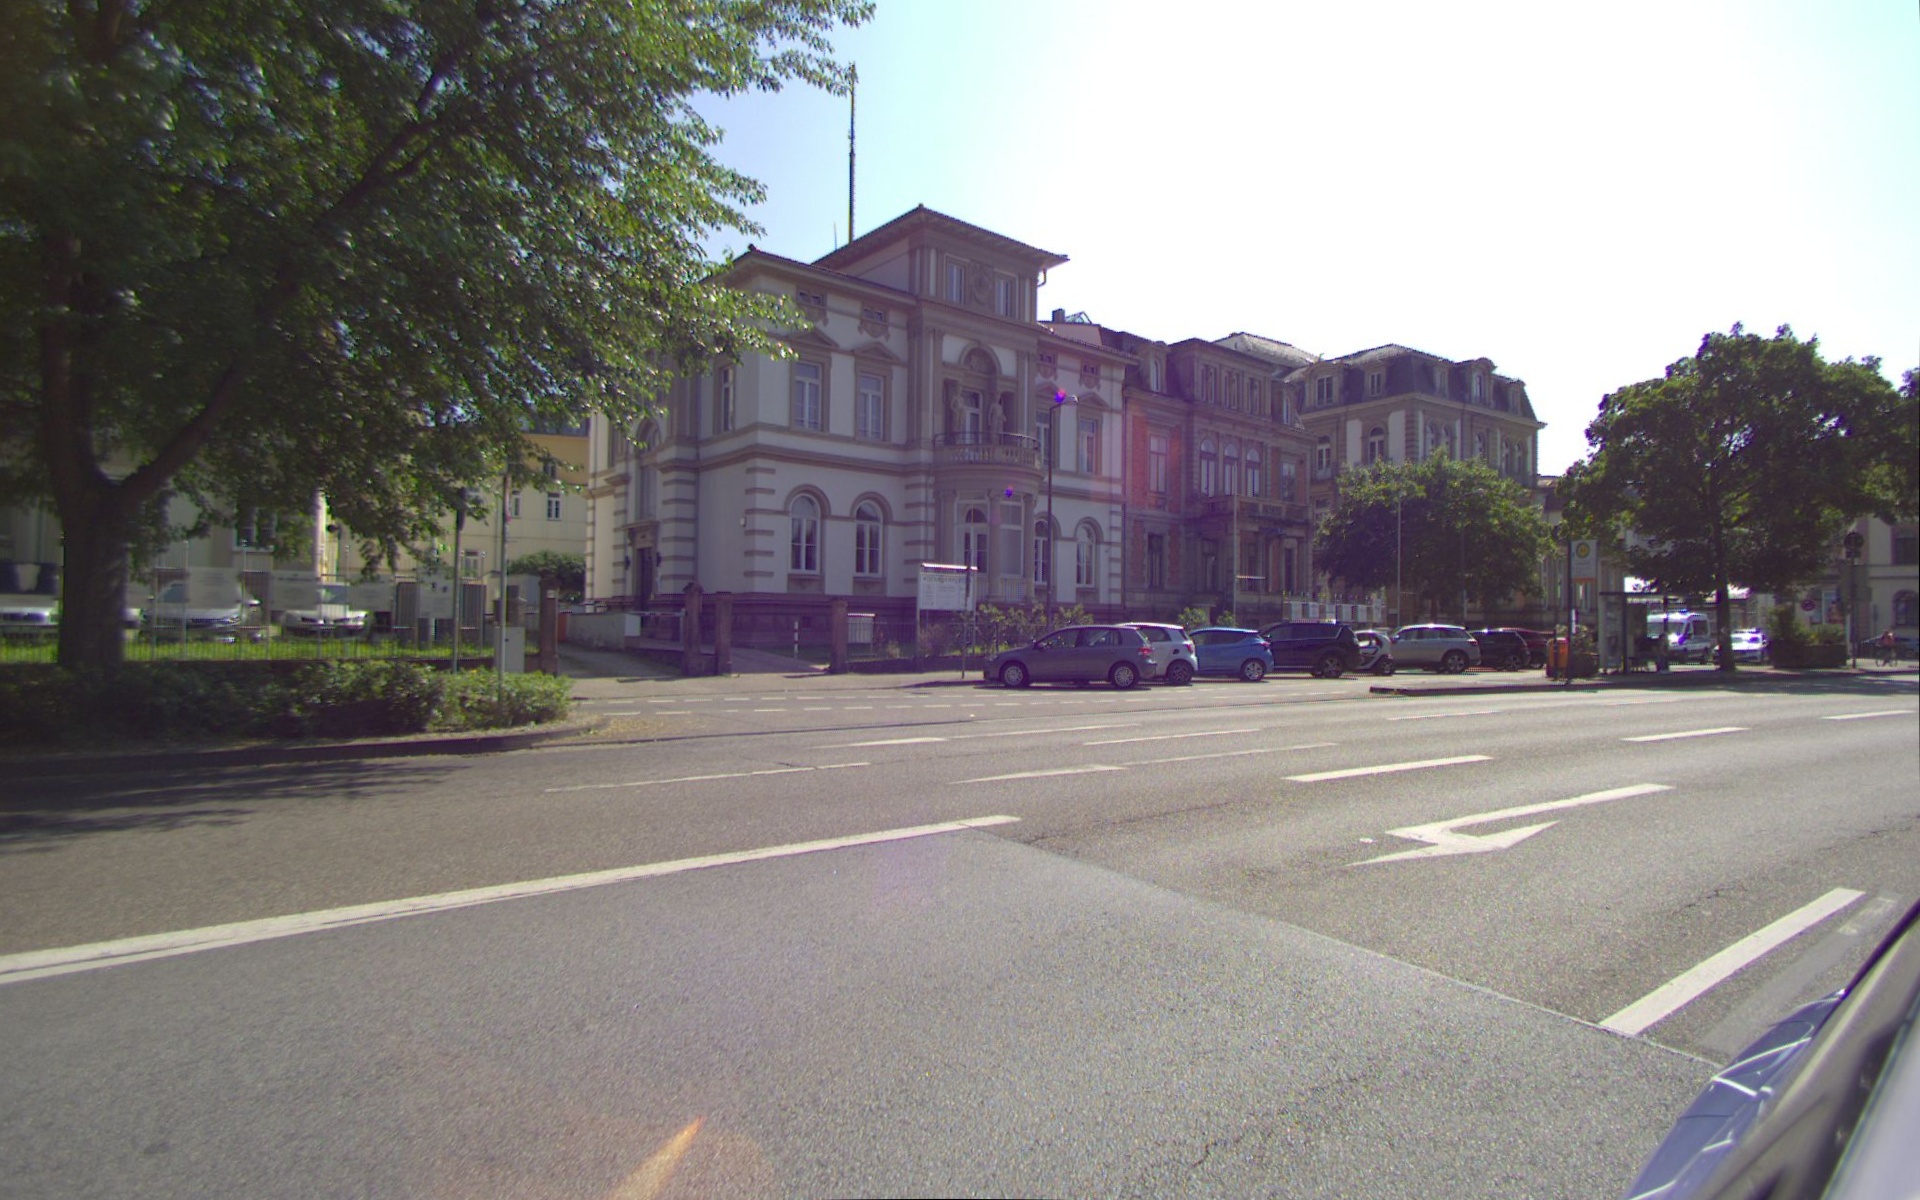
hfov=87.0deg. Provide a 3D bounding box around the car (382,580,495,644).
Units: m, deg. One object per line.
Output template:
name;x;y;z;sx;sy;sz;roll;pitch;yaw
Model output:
car;-12.261;0.270;23.683;1.952;1.353;4.055;1;-1;-33

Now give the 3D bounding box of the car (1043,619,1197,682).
car;4.072;1.262;25.918;3.749;1.531;1.708;0;-2;10

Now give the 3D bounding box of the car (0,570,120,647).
car;-17.937;0.163;19.752;1.786;1.353;4.482;1;-1;-33

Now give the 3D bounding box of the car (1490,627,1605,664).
car;23.844;1.839;41.171;3.645;1.436;1.742;0;-2;14

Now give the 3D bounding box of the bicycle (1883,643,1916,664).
bicycle;40.657;2.298;43.806;1.710;0.866;0.594;1;-2;-31

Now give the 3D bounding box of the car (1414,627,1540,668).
car;18.789;1.714;36.924;3.763;1.435;1.599;0;-2;14

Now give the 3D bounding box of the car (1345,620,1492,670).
car;15.630;1.522;34.696;4.245;1.651;1.709;0;-2;9

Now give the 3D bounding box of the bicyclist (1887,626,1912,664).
bicyclist;40.729;1.931;43.860;0.670;1.627;0.594;2;-2;-31

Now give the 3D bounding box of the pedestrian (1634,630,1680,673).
pedestrian;19.977;1.463;29.011;1.016;1.213;0.780;-1;-2;39

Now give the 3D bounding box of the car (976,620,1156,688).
car;2.550;1.234;23.893;4.046;1.480;1.820;0;-2;14

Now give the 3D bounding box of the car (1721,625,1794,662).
car;37.384;2.012;47.418;4.794;1.647;1.819;2;-2;-41

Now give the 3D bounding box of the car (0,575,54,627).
car;-26.545;0.025;27.818;1.786;1.353;4.055;1;-1;-33

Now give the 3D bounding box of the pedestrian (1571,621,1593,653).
pedestrian;34.487;2.024;56.097;0.738;1.763;0.819;2;-2;-42

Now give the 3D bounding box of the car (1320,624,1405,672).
car;12.888;1.533;32.490;2.247;1.502;1.200;0;-2;4

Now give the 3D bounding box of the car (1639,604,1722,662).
car;34.564;1.575;48.499;5.223;2.637;1.997;2;-2;-40

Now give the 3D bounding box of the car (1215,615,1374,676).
car;9.861;1.327;30.137;4.201;1.718;1.710;0;-2;7

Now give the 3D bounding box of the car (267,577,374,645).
car;-14.110;0.246;22.363;1.824;1.353;4.055;1;-1;-33

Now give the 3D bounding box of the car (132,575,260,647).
car;-15.918;0.224;21.271;1.786;1.353;4.100;1;-1;-33

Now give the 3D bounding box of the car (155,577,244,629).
car;-22.585;0.093;30.193;1.786;1.437;4.064;1;-1;-33

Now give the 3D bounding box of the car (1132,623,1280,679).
car;6.669;1.372;27.782;3.746;1.461;1.710;0;-2;7

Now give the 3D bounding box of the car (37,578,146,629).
car;-24.845;0.108;29.079;1.786;1.353;4.091;1;-1;-33

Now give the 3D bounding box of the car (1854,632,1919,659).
car;57.449;2.800;61.839;1.759;1.470;3.972;1;0;-37

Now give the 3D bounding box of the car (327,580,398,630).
car;-19.636;0.182;33.211;1.829;1.529;4.064;1;-1;-33

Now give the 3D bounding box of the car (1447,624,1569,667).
car;21.290;1.740;39.496;3.819;1.595;1.742;0;-2;14
